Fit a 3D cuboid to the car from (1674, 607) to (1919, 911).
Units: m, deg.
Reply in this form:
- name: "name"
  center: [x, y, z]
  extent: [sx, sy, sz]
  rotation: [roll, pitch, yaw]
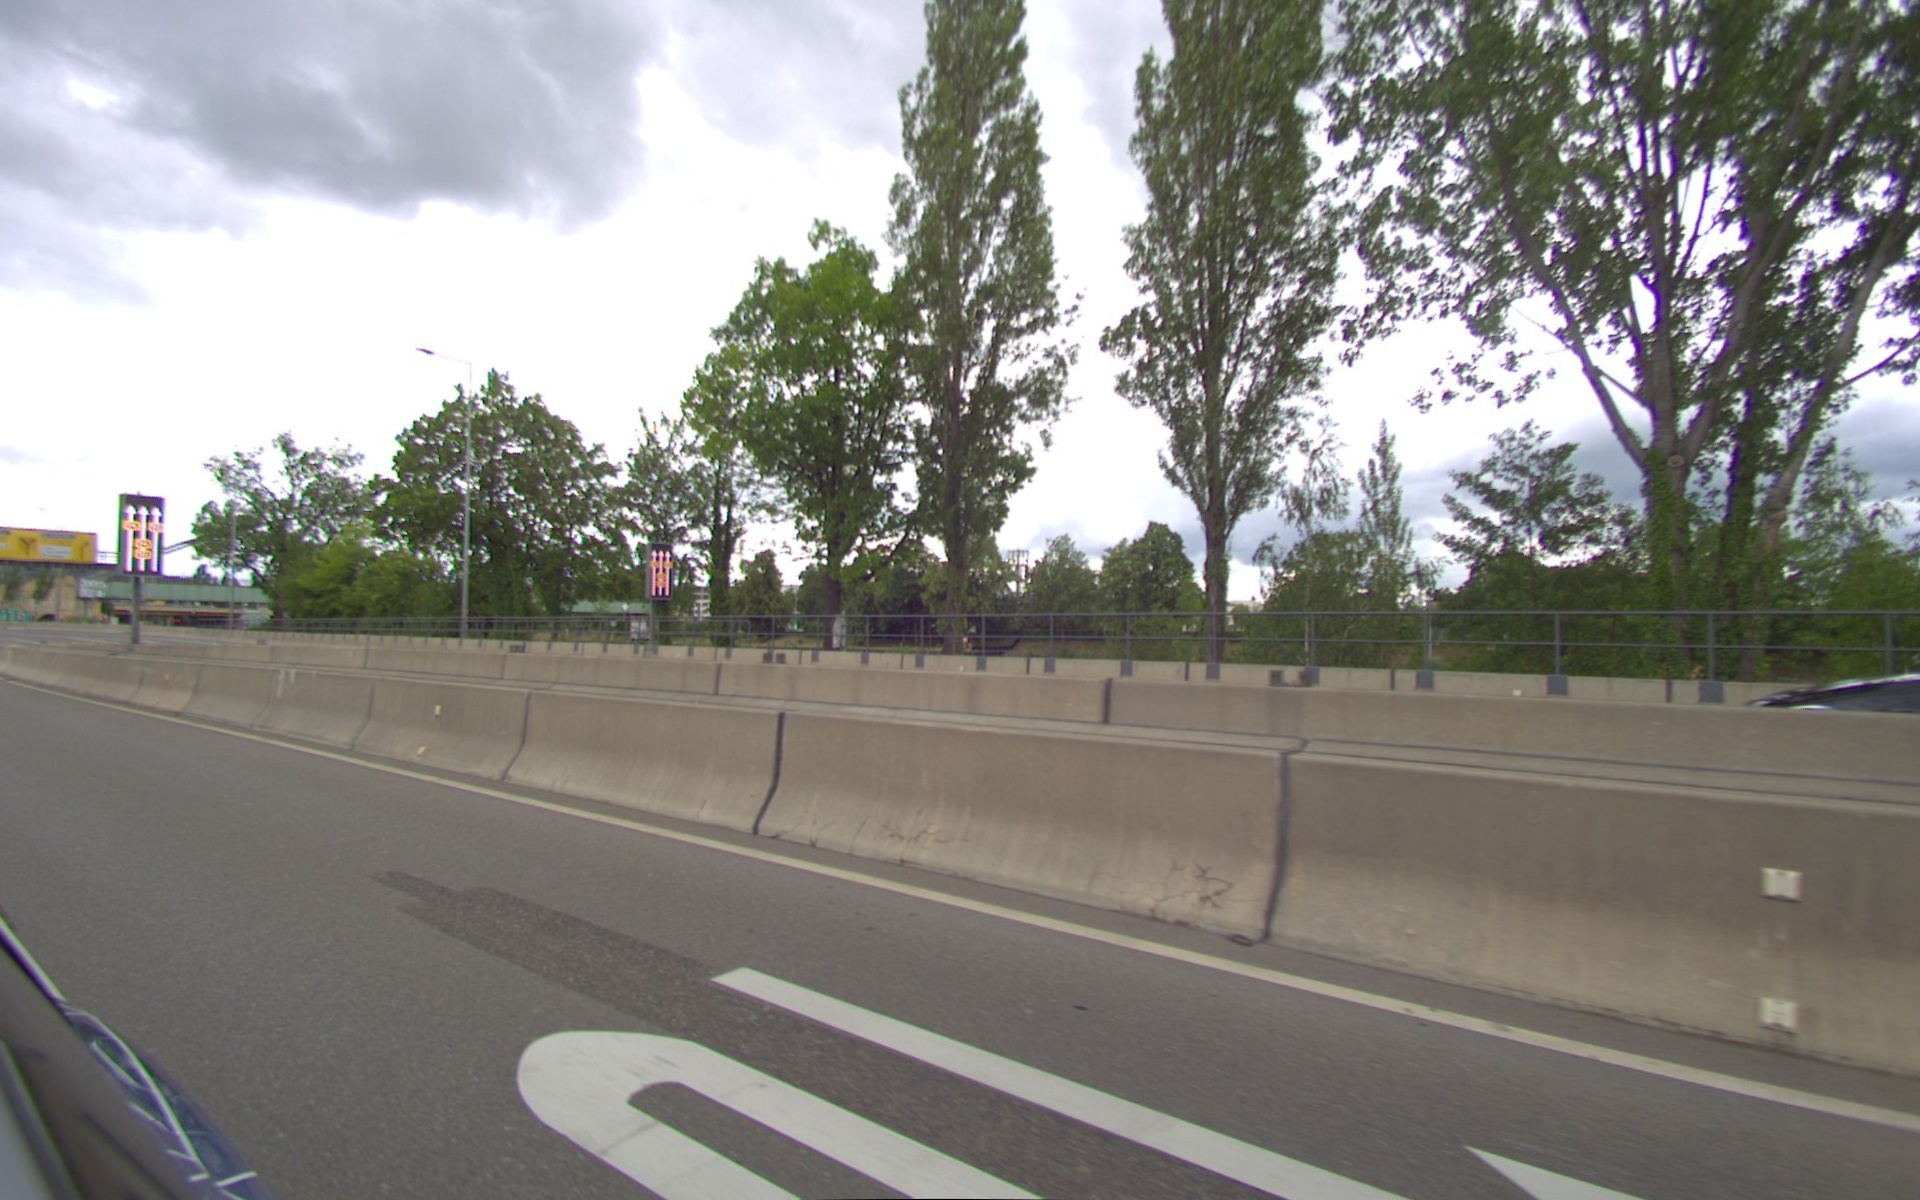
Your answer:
- name: "car"
  center: [7.886, 1.023, 6.670]
  extent: [4.999, 1.940, 2.305]
  rotation: [-1, 0, 41]
